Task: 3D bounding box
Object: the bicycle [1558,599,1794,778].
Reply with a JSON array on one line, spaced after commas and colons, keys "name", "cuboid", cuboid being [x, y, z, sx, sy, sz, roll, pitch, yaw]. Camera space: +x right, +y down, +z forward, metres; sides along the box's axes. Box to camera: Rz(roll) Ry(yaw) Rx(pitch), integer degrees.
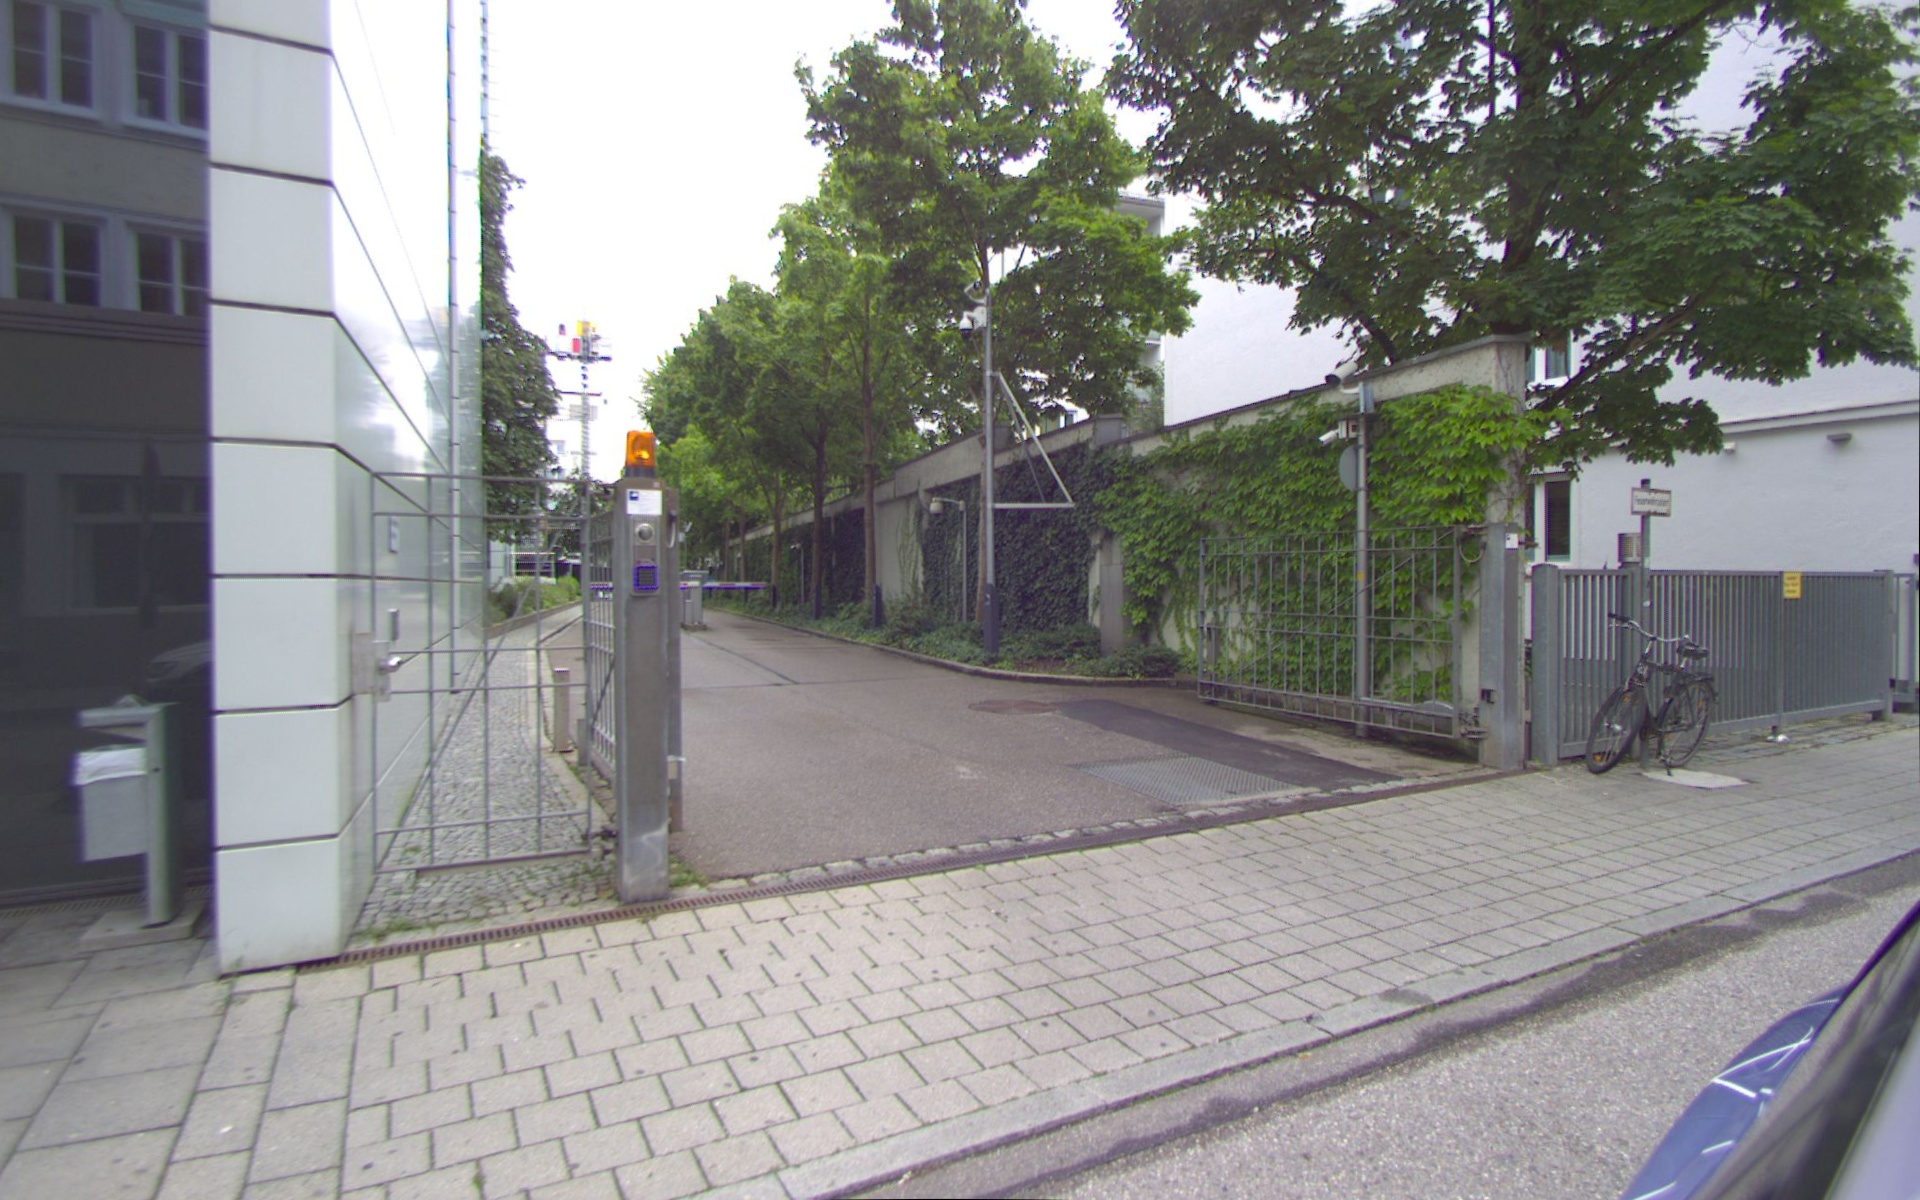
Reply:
[{"name": "bicycle", "cuboid": [5.430, 0.639, 7.658, 1.796, 1.213, 0.711, 3, -1, -28]}]
